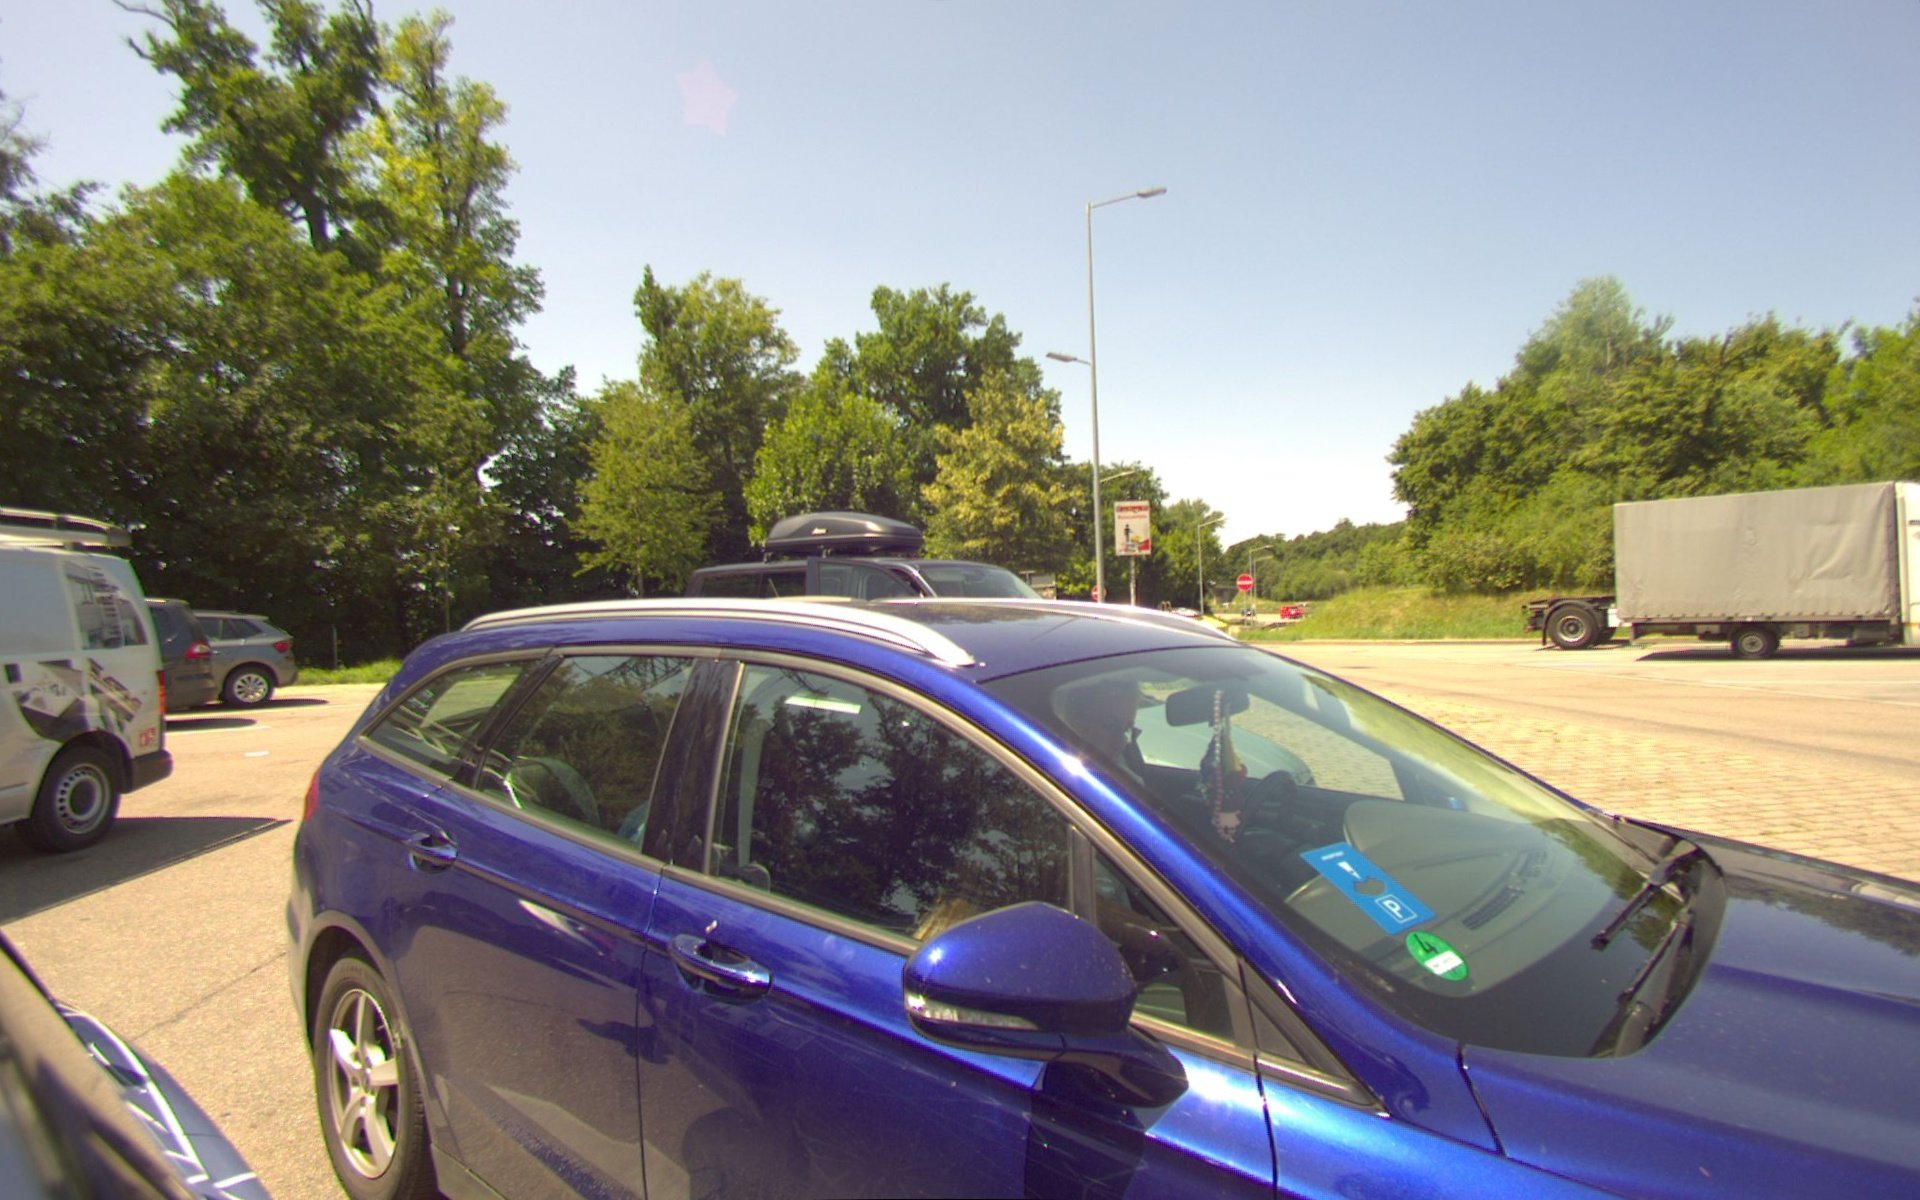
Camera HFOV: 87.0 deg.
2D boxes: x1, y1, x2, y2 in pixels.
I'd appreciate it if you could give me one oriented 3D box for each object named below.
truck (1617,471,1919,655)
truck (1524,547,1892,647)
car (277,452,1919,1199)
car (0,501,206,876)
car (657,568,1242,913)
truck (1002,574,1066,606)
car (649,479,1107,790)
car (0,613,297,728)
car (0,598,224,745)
[{"bbox_3d":[16.677,-0.618,18.762,7.253,3.175,2.148,-2,-1,41],"label":"truck"},{"bbox_3d":[17.087,0.043,23.538,6.613,2.029,1.973,-2,-1,41],"label":"truck"},{"bbox_3d":[0.259,0.646,2.104,4.411,1.429,1.721,-2,-1,41],"label":"car"},{"bbox_3d":[-6.254,0.489,4.709,1.816,2.121,5.440,0,-1,-5],"label":"car"},{"bbox_3d":[-0.215,0.595,5.562,3.112,1.370,1.326,-2,-1,41],"label":"car"},{"bbox_3d":[3.558,-0.460,48.685,2.866,1.386,1.158,-2,-1,22],"label":"truck"},{"bbox_3d":[-0.879,0.320,9.524,4.076,2.336,1.767,-2,-1,35],"label":"car"},{"bbox_3d":[-12.521,0.998,15.699,3.535,1.513,1.708,-1,0,-42],"label":"car"},{"bbox_3d":[-11.636,0.849,12.578,1.755,1.701,3.798,-2,-1,45],"label":"car"}]
